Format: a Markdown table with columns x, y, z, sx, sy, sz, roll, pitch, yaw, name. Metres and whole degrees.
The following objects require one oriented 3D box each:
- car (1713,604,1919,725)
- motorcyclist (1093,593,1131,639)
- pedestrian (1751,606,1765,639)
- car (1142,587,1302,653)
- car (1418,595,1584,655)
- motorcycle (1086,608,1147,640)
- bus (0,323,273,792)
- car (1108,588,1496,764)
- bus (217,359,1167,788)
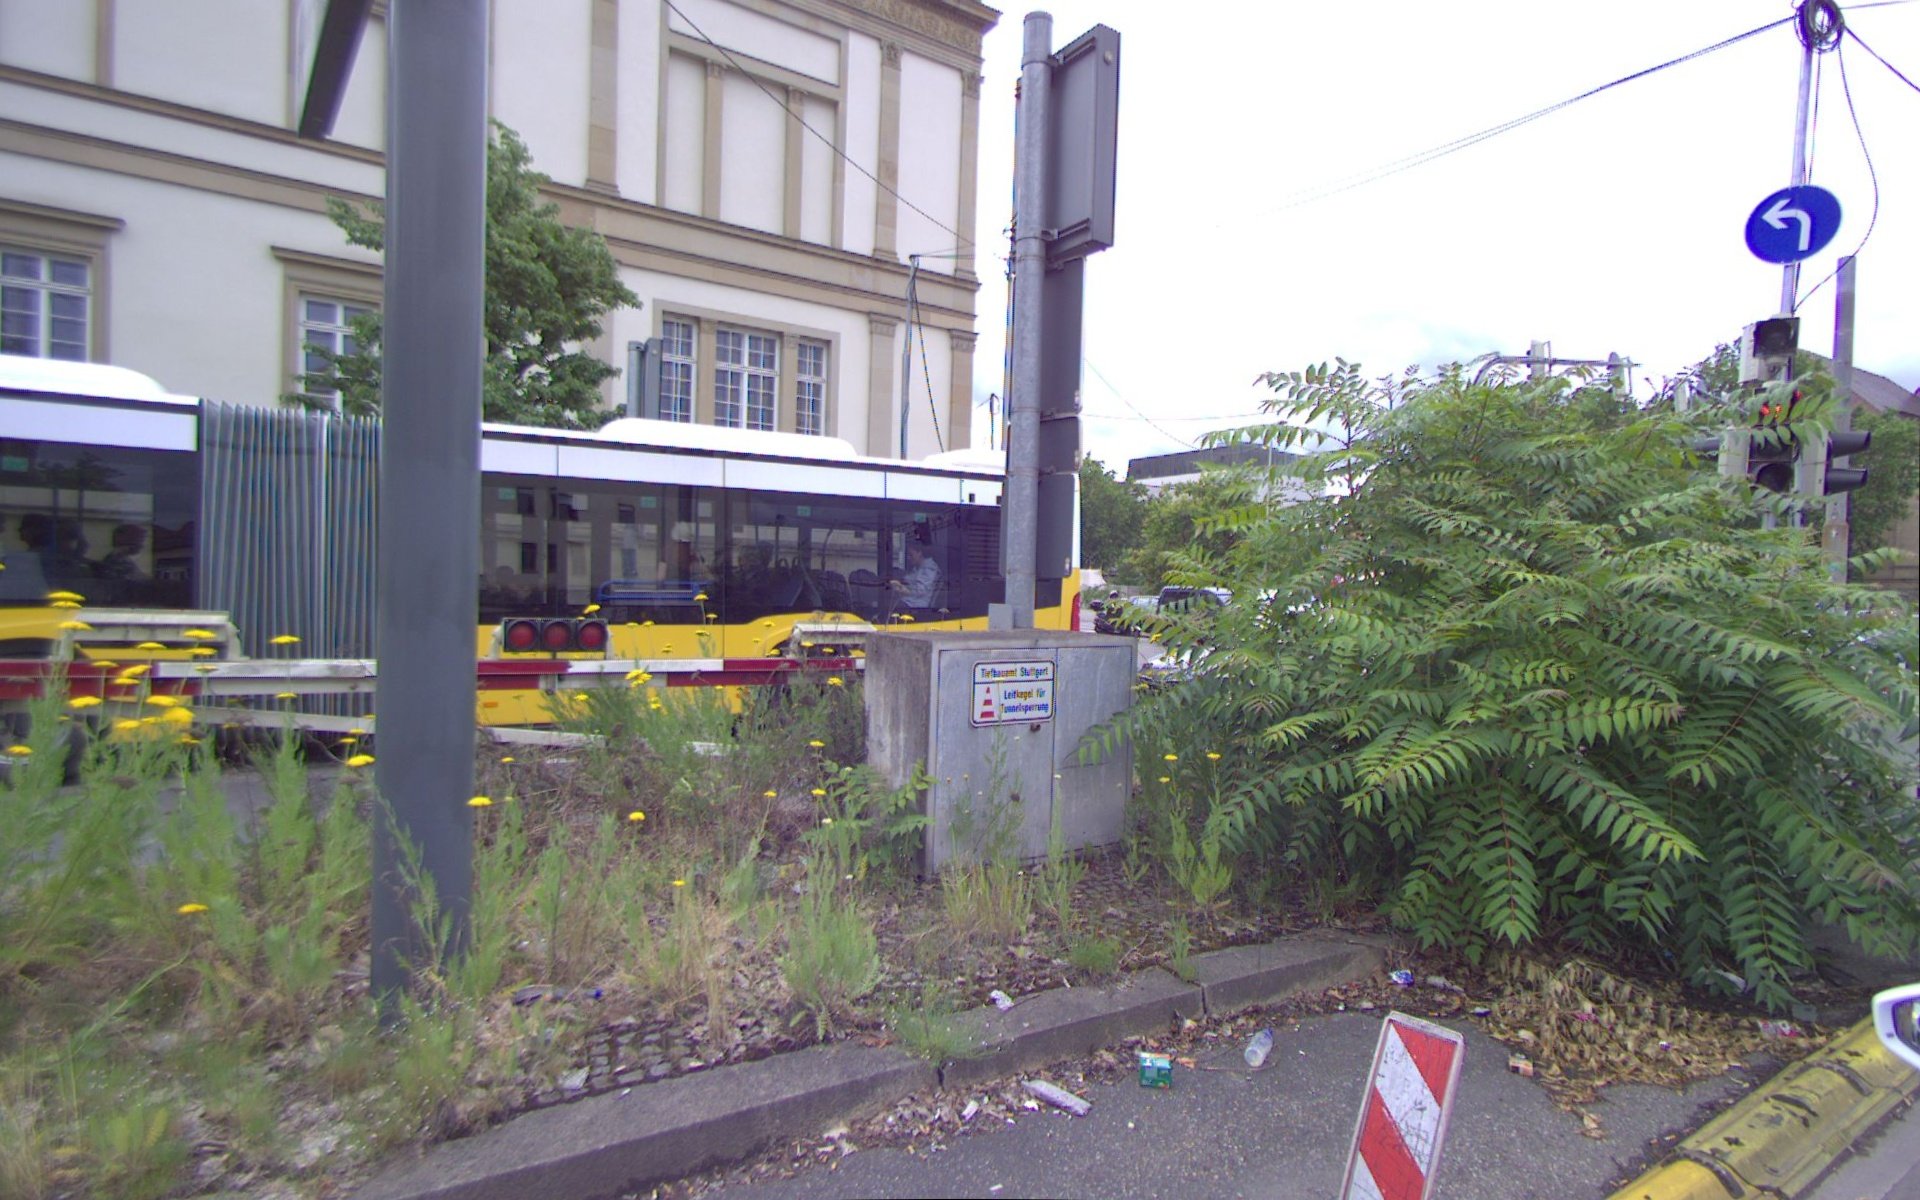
| x | y | z | sx | sy | sz | roll | pitch | yaw | name |
| --- | --- | --- | --- | --- | --- | --- | --- | --- | --- |
| 14.453 | 0.967 | 16.064 | 4.381 | 1.692 | 1.874 | 1 | 1 | -23 | car |
| 4.961 | 0.514 | 32.795 | 0.738 | 1.442 | 0.959 | 1 | 1 | -35 | motorcyclist |
| 49.774 | 1.382 | 62.653 | 0.516 | 2.040 | 0.428 | 2 | 1 | 17 | pedestrian |
| 7.536 | 0.534 | 29.277 | 1.979 | 1.698 | 4.285 | 1 | 1 | -34 | car |
| 17.297 | 0.756 | 32.253 | 1.986 | 1.698 | 4.271 | 1 | 1 | -43 | car |
| 5.063 | 0.779 | 32.649 | 0.749 | 0.937 | 2.042 | 1 | 1 | -35 | motorcycle |
| -10.245 | -0.374 | 6.201 | 9.633 | 3.156 | 2.832 | 1 | 1 | -30 | bus |
| 3.721 | 0.728 | 10.662 | 4.244 | 1.533 | 1.696 | 1 | -2 | -34 | car |
| -2.195 | -0.131 | 10.852 | 9.011 | 3.156 | 2.833 | 1 | 1 | -29 | bus |
